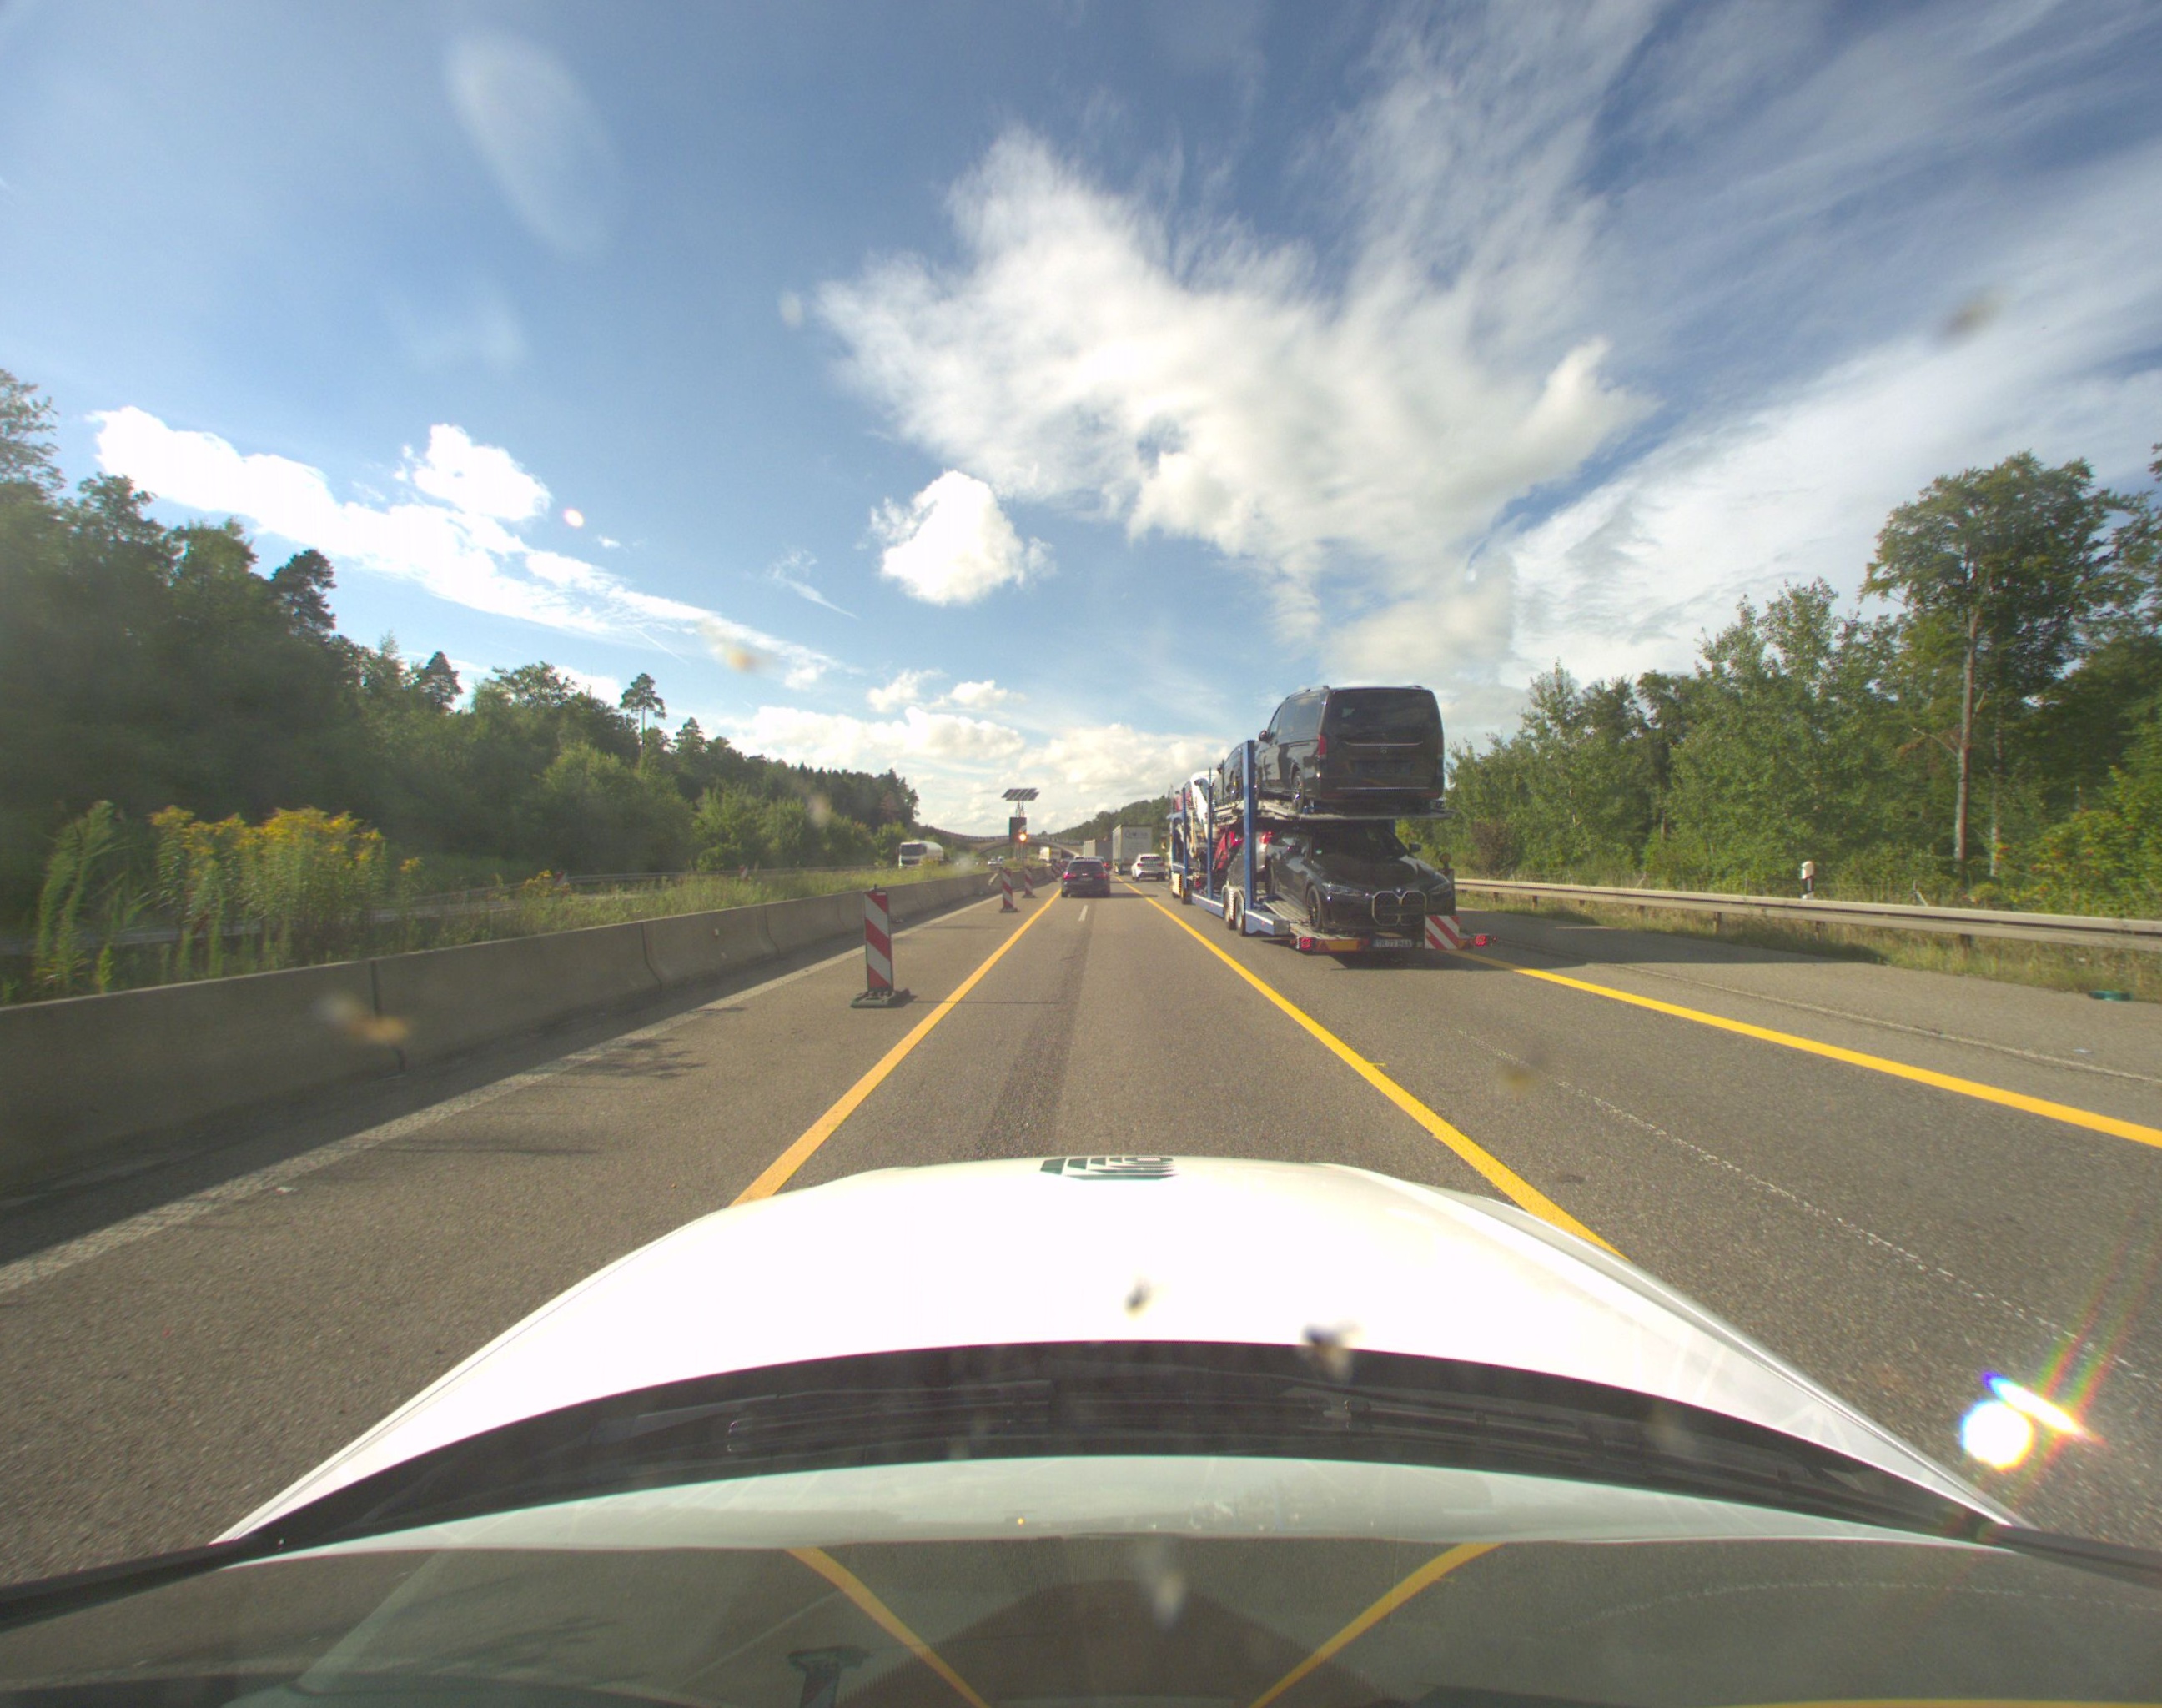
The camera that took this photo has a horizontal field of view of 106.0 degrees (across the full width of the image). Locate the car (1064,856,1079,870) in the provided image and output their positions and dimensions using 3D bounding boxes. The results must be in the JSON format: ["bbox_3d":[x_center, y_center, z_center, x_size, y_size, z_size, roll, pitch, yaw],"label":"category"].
[{"bbox_3d":[-1.481,1.316,122.104,1.991,2.014,3.992,0,-1,-6],"label":"car"}]

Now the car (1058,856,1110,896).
[{"bbox_3d":[0.184,0.832,31.667,1.883,1.446,4.002,0,0,2],"label":"car"}]

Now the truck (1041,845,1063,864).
[{"bbox_3d":[-6.277,0.122,174.118,3.652,3.928,11.035,0,-1,-8],"label":"truck"}]

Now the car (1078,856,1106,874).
[{"bbox_3d":[0.838,0.869,65.569,1.887,1.446,3.993,0,-1,-5],"label":"car"}]

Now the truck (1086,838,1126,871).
[{"bbox_3d":[3.482,0.111,118.172,4.314,4.600,11.101,0,-1,-6],"label":"truck"}]

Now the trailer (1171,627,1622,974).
[{"bbox_3d":[4.719,-0.595,17.977,3.714,4.196,16.225,0,0,0],"label":"trailer"}]

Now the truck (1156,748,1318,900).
[{"bbox_3d":[4.696,-0.796,26.556,3.749,4.196,7.950,0,-1,0],"label":"truck"}]

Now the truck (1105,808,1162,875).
[{"bbox_3d":[4.434,-0.933,73.009,3.667,5.353,16.191,0,0,-1],"label":"truck"}]

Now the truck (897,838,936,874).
[{"bbox_3d":[-16.360,0.222,81.221,2.774,3.490,4.941,0,-1,2],"label":"truck"}]

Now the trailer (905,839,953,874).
[{"bbox_3d":[-16.150,0.302,87.366,2.791,3.490,11.116,0,0,2],"label":"trailer"}]

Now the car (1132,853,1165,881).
[{"bbox_3d":[4.199,0.801,50.929,1.883,1.643,4.019,0,-1,2],"label":"car"}]

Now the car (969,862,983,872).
[{"bbox_3d":[-18.706,2.305,145.413,1.952,1.588,4.482,0,0,0],"label":"car"}]

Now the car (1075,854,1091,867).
[{"bbox_3d":[0.219,0.849,105.709,1.886,1.643,4.013,0,-1,-3],"label":"car"}]

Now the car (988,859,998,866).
[{"bbox_3d":[-21.012,2.050,193.617,1.771,1.602,4.019,0,-1,2],"label":"car"}]

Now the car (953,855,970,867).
[{"bbox_3d":[-17.487,1.029,119.591,1.771,1.602,4.019,0,-1,2],"label":"car"}]
